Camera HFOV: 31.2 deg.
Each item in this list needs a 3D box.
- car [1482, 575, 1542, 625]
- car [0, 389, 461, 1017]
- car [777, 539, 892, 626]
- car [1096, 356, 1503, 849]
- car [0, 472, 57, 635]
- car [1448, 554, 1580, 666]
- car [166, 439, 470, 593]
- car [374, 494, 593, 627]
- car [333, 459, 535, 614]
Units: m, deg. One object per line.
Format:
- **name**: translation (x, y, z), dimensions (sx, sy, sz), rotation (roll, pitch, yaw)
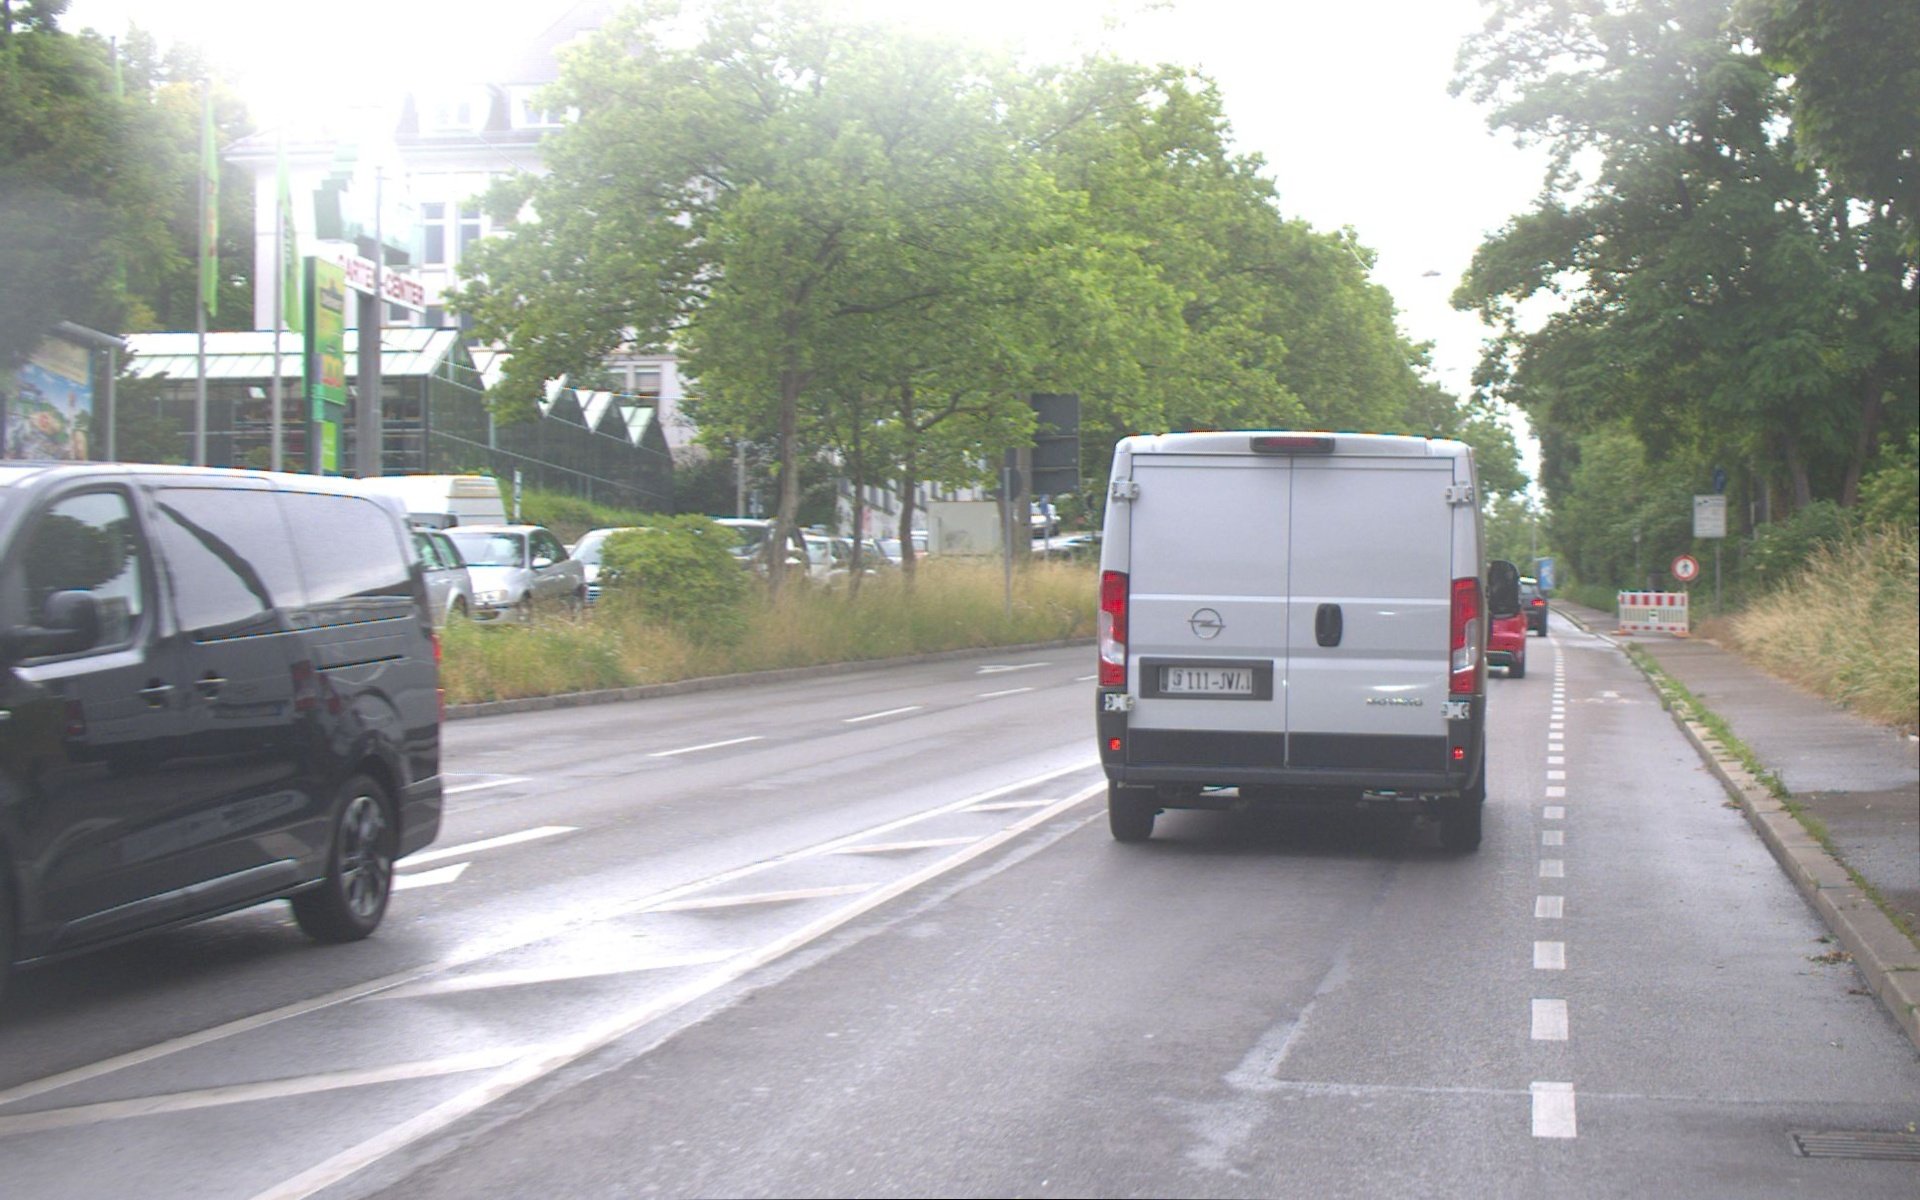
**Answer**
- **car**: translation (13.329, 0.008, 82.926), dimensions (1.344, 1.135, 2.288), rotation (0, -2, 11)
- **car**: translation (-3.533, 0.303, 11.996), dimensions (2.015, 1.860, 5.039), rotation (0, 0, 11)
- **car**: translation (-2.188, -0.290, 60.793), dimensions (1.361, 1.390, 3.706), rotation (0, -2, 9)
- **car**: translation (2.083, -0.026, 20.196), dimensions (2.051, 2.508, 4.942), rotation (1, 1, 8)
- **car**: translation (-11.253, -0.476, 36.098), dimensions (1.771, 1.740, 4.582), rotation (-1, 1, 8)
- **car**: translation (7.721, 0.161, 47.692), dimensions (1.694, 1.421, 3.366), rotation (1, -2, 11)
- **car**: translation (-6.558, -0.855, 35.604), dimensions (1.647, 1.473, 4.442), rotation (0, 1, 10)
- **car**: translation (-5.766, -0.498, 42.053), dimensions (1.592, 1.535, 3.991), rotation (-1, 1, 8)
- **car**: translation (-8.686, -1.060, 57.302), dimensions (1.963, 2.435, 5.655), rotation (-1, 1, 6)
